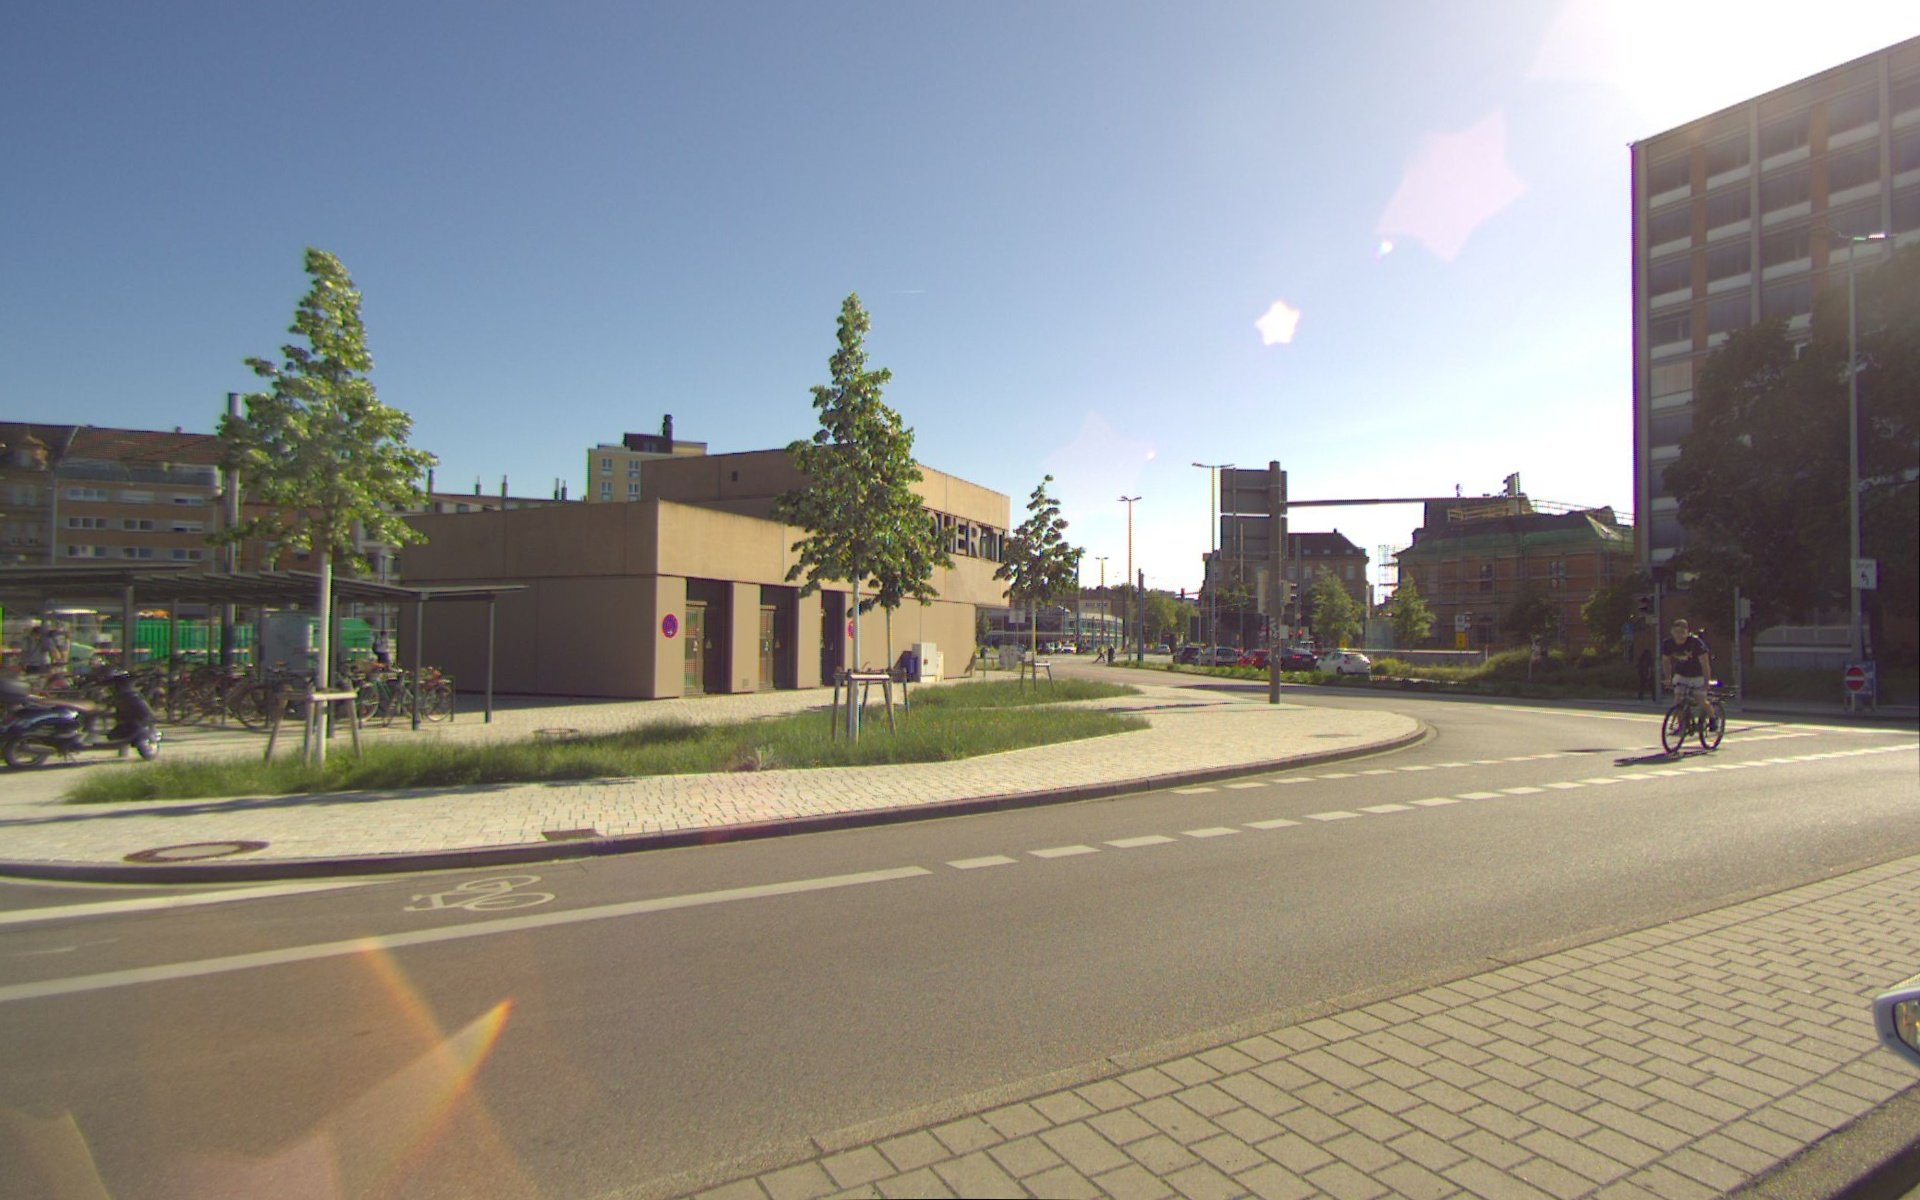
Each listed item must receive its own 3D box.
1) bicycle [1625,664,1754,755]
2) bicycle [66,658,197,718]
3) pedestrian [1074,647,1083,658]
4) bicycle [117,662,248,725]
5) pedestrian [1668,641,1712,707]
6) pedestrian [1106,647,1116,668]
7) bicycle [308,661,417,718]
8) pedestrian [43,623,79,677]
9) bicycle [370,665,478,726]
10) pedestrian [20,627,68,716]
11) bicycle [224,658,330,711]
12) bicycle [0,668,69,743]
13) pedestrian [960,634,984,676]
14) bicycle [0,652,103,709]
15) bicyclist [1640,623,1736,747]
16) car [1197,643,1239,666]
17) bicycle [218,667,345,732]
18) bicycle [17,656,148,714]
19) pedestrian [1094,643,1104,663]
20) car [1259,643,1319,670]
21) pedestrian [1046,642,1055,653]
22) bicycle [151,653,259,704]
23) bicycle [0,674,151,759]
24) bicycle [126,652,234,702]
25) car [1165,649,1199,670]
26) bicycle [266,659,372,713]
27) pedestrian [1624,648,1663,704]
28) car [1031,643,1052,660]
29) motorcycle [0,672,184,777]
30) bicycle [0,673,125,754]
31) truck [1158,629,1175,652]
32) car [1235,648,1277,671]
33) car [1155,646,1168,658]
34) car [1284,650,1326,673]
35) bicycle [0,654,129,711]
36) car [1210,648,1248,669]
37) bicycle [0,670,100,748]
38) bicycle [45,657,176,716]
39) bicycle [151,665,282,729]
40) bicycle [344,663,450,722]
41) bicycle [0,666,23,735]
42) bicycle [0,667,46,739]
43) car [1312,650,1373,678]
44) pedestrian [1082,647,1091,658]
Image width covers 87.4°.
[{"bbox_3d":[10.118,1.481,13.920,1.848,1.180,0.742,2,-3,-30],"label":"bicycle"},{"bbox_3d":[-15.246,1.597,18.549,0.557,1.051,1.788,-1,-3,22],"label":"bicycle"},{"bbox_3d":[15.313,6.732,129.542,0.855,1.427,0.688,2,0,-32],"label":"pedestrian"},{"bbox_3d":[-13.844,1.636,17.953,0.557,1.051,1.788,-1,-3,22],"label":"bicycle"},{"bbox_3d":[21.097,2.119,29.030,1.086,1.856,0.748,4,-3,-38],"label":"pedestrian"},{"bbox_3d":[12.283,4.667,81.880,0.566,1.632,0.565,2,0,-30],"label":"pedestrian"},{"bbox_3d":[-11.652,1.728,19.650,0.558,1.051,1.785,-2,-4,30],"label":"bicycle"},{"bbox_3d":[-26.175,1.445,29.248,0.550,1.538,0.588,0,-2,25],"label":"pedestrian"},{"bbox_3d":[-9.853,1.738,18.539,0.557,1.051,1.788,-1,-3,22],"label":"bicycle"},{"bbox_3d":[-18.325,1.409,20.109,0.612,1.746,0.674,2,-2,-39],"label":"pedestrian"},{"bbox_3d":[-14.100,1.730,20.799,0.557,1.051,1.788,-1,-3,22],"label":"bicycle"},{"bbox_3d":[-14.019,1.519,14.400,0.557,1.051,1.788,-1,-3,22],"label":"bicycle"},{"bbox_3d":[0.514,2.339,42.816,0.778,1.745,0.594,-2,-5,38],"label":"pedestrian"},{"bbox_3d":[-17.869,1.542,19.495,0.557,1.051,1.788,-1,-3,22],"label":"bicycle"},{"bbox_3d":[10.067,1.156,13.903,0.966,1.642,0.716,2,-3,-30],"label":"bicyclist"},{"bbox_3d":[17.502,3.691,68.300,1.697,1.461,3.798,1,-2,-3],"label":"car"},{"bbox_3d":[-11.680,1.688,17.355,0.557,1.051,1.788,-1,-3,22],"label":"bicycle"},{"bbox_3d":[-16.627,1.587,19.087,0.557,1.051,1.788,-1,-3,22],"label":"bicycle"},{"bbox_3d":[11.657,4.437,84.154,0.643,1.632,0.676,2,0,-4],"label":"pedestrian"},{"bbox_3d":[20.562,3.514,62.971,1.953,1.645,4.374,1,-2,-7],"label":"car"},{"bbox_3d":[11.482,6.042,127.448,0.852,1.427,0.691,2,0,-19],"label":"pedestrian"},{"bbox_3d":[-16.195,1.670,21.597,0.557,1.051,1.788,-1,-3,22],"label":"bicycle"},{"bbox_3d":[-12.189,1.546,13.658,0.557,1.051,1.788,-1,-3,22],"label":"bicycle"},{"bbox_3d":[-16.872,1.651,21.781,0.557,1.051,1.788,-1,-3,22],"label":"bicycle"},{"bbox_3d":[16.599,4.450,75.280,1.696,1.461,3.912,3,-2,2],"label":"car"},{"bbox_3d":[-12.929,1.715,20.329,0.557,1.051,1.788,-1,-3,22],"label":"bicycle"},{"bbox_3d":[20.527,2.275,30.180,0.669,1.633,0.719,1,-2,-6],"label":"pedestrian"},{"bbox_3d":[11.086,6.968,136.547,1.960,2.040,4.001,2,0,16],"label":"car"},{"bbox_3d":[-10.931,1.502,12.475,0.584,1.134,1.983,0,-2,26],"label":"motorcycle"},{"bbox_3d":[-12.787,1.551,13.919,0.557,1.051,1.788,-1,-3,22],"label":"bicycle"},{"bbox_3d":[35.786,7.016,174.056,2.549,3.723,5.229,2,0,10],"label":"truck"},{"bbox_3d":[20.322,4.076,69.060,1.644,1.461,3.722,3,-2,-2],"label":"car"},{"bbox_3d":[29.267,7.606,146.111,1.750,1.565,3.642,2,0,13],"label":"car"},{"bbox_3d":[25.870,4.585,75.452,1.846,1.638,3.626,2,-3,0],"label":"car"},{"bbox_3d":[-17.189,1.566,19.325,0.557,1.051,1.788,-1,-3,22],"label":"bicycle"},{"bbox_3d":[20.243,4.371,75.657,1.697,1.461,3.799,3,-2,-2],"label":"car"},{"bbox_3d":[-13.336,1.529,14.143,0.557,1.051,1.788,-1,-3,22],"label":"bicycle"},{"bbox_3d":[-15.888,1.595,18.845,0.557,1.051,1.788,-1,-3,22],"label":"bicycle"},{"bbox_3d":[-12.950,1.661,17.551,0.557,1.051,1.788,-1,-3,22],"label":"bicycle"},{"bbox_3d":[-10.642,1.725,19.066,0.557,1.051,1.788,-1,-3,22],"label":"bicycle"},{"bbox_3d":[-15.212,1.519,14.925,0.557,1.051,1.788,-1,-3,22],"label":"bicycle"},{"bbox_3d":[-14.596,1.517,14.641,0.557,1.051,1.788,-1,-3,22],"label":"bicycle"},{"bbox_3d":[21.267,3.519,55.997,1.665,1.454,3.733,1,-2,-7],"label":"car"},{"bbox_3d":[16.399,6.777,129.973,0.855,1.427,0.688,2,0,-32],"label":"pedestrian"}]
